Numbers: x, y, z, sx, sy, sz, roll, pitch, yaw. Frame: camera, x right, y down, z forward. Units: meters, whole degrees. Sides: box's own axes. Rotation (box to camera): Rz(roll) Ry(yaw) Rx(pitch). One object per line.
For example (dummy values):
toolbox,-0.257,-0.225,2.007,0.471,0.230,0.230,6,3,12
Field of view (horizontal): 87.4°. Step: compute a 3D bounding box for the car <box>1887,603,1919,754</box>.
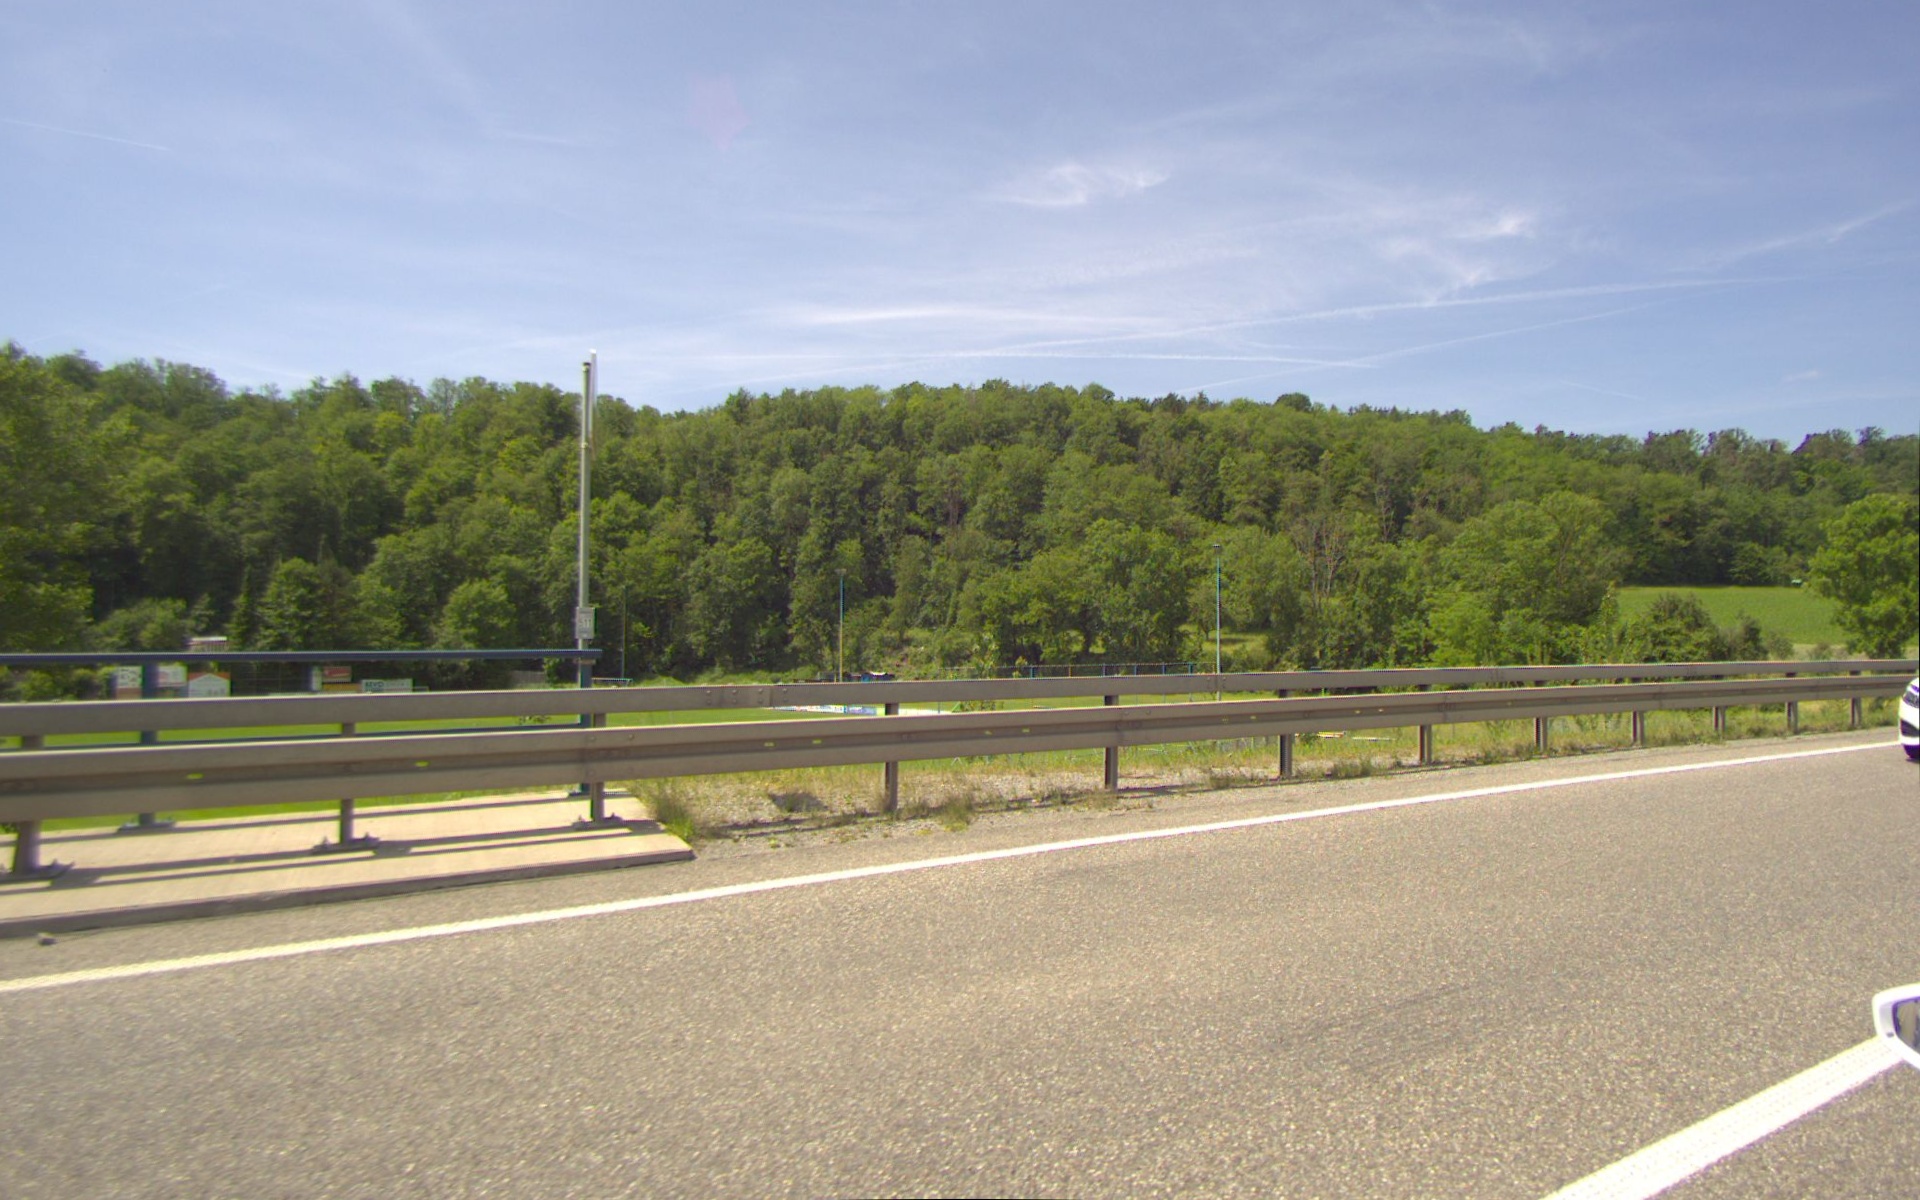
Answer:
car,11.772,0.839,10.699,3.954,1.532,1.749,1,0,-31
